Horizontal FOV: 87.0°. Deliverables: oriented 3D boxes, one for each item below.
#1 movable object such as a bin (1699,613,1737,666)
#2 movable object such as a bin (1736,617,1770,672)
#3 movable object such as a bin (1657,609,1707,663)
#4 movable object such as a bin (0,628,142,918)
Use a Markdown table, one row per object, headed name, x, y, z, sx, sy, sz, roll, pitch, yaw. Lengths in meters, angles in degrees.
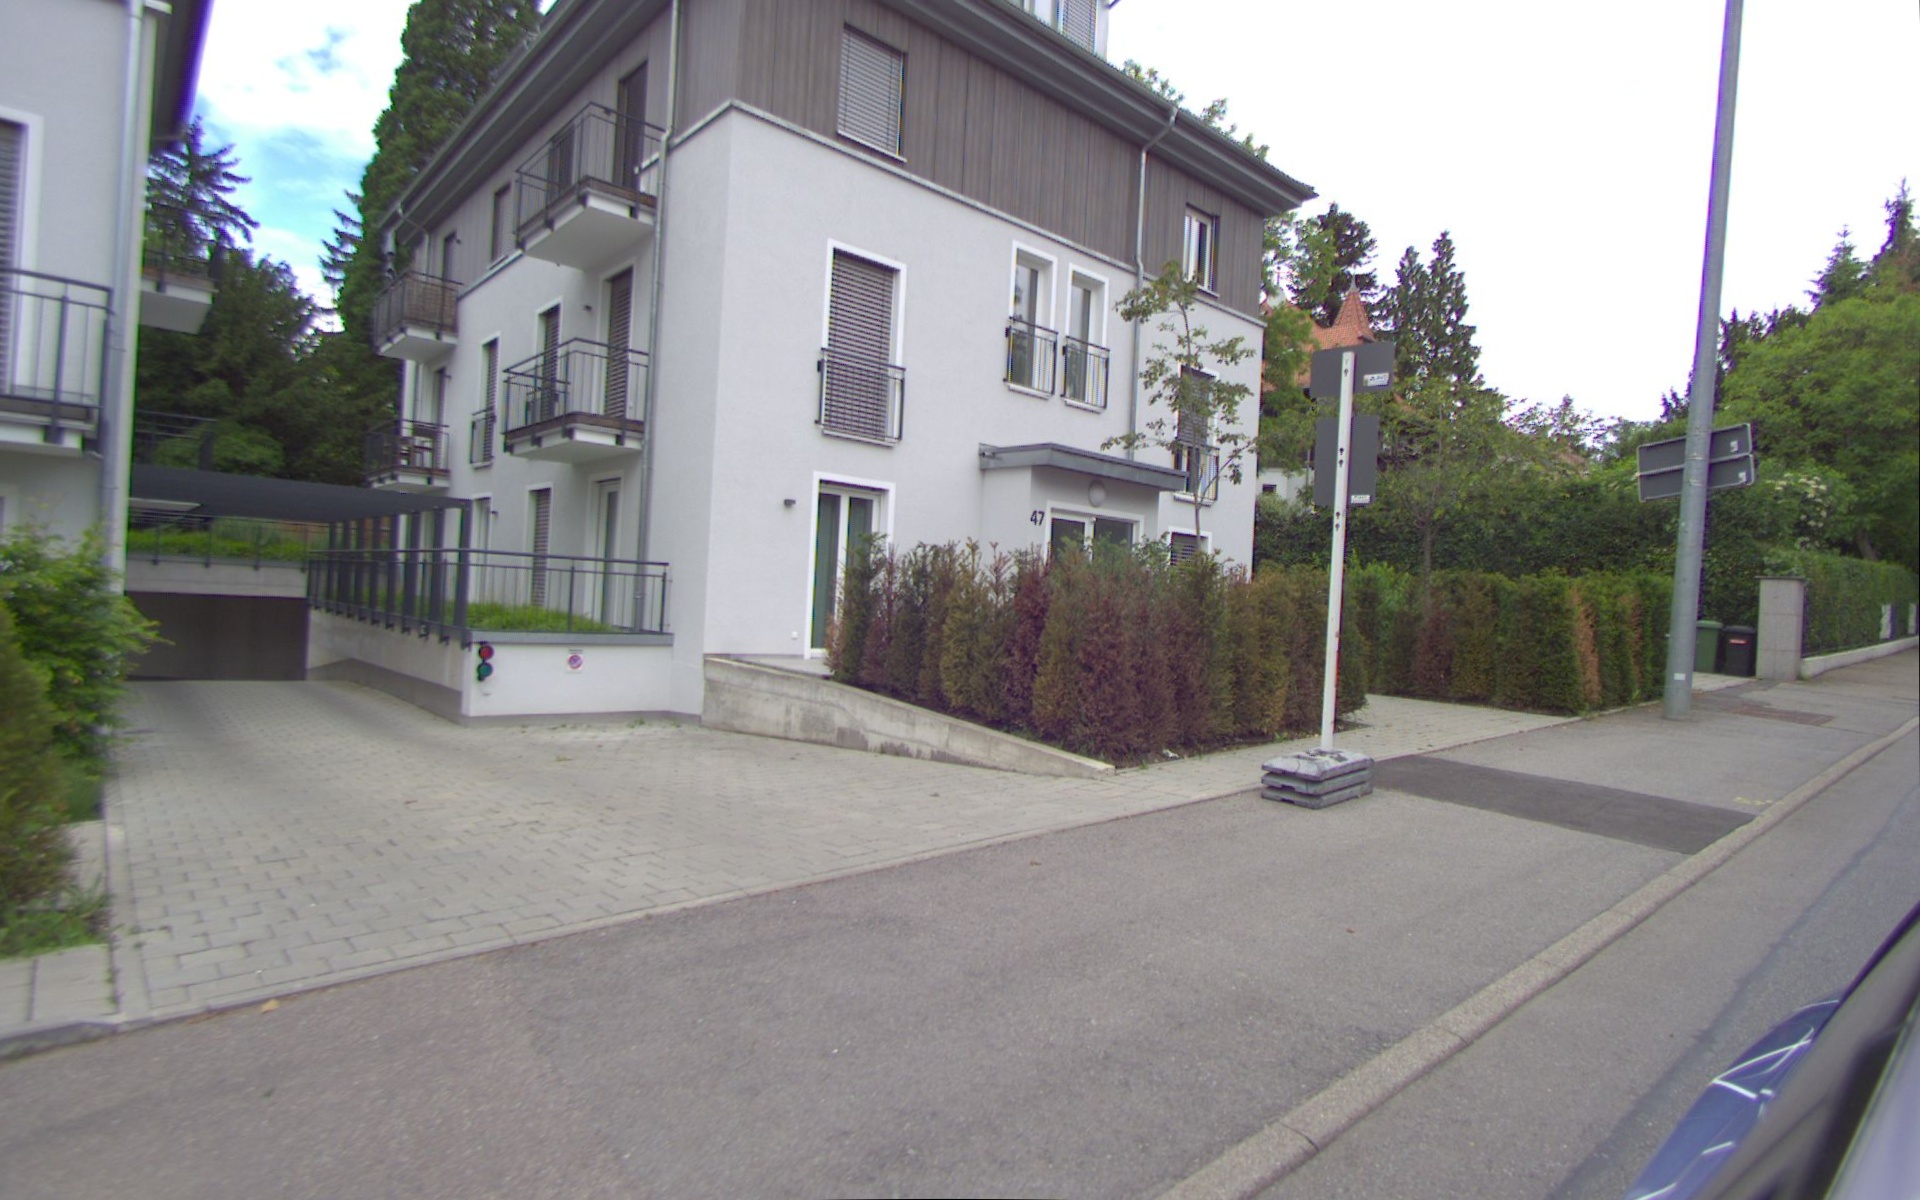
| name | x | y | z | sx | sy | sz | roll | pitch | yaw |
| --- | --- | --- | --- | --- | --- | --- | --- | --- | --- |
| movable object such as a bin | 14.188 | 0.728 | 18.951 | 0.463 | 0.949 | 0.598 | 2 | 1 | 31 |
| movable object such as a bin | 14.425 | 0.794 | 18.418 | 0.464 | 0.949 | 0.596 | 2 | 1 | 38 |
| movable object such as a bin | 13.620 | 0.681 | 19.097 | 0.592 | 0.949 | 0.467 | 3 | 2 | -24 |
| movable object such as a bin | -3.979 | 0.671 | 4.150 | 0.705 | 1.087 | 0.680 | 0 | 0 | 12 |
